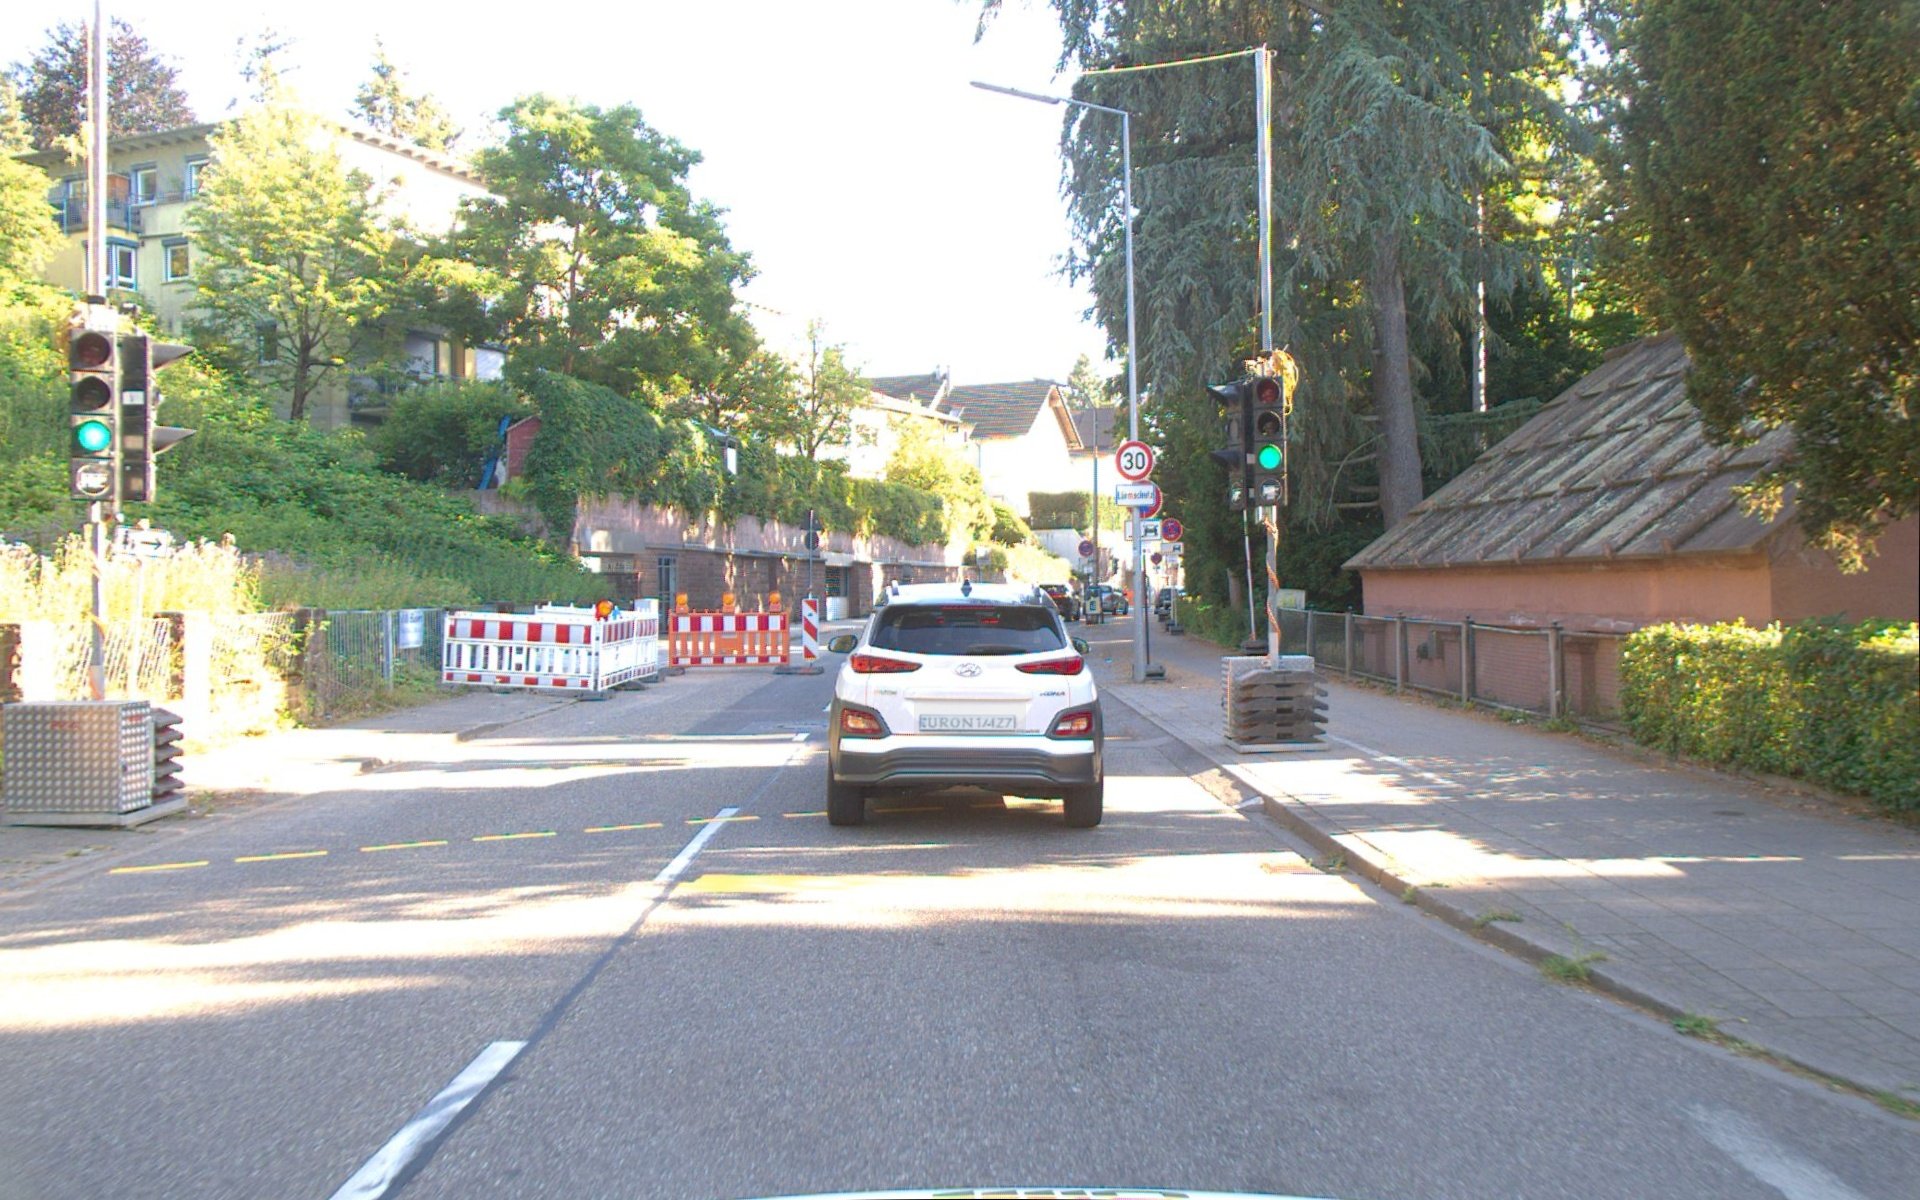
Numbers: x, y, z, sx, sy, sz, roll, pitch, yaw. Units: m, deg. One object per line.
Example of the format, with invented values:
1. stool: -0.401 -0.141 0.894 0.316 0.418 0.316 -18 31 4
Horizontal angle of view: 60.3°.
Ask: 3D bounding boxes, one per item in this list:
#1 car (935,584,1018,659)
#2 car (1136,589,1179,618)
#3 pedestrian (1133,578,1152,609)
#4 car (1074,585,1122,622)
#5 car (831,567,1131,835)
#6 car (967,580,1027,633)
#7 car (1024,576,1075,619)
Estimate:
1. car: 0.302 0.413 35.773 1.673 1.459 4.364 1 1 -1
2. car: 11.923 0.182 99.796 1.793 1.691 4.002 1 1 18
3. pedestrian: 11.630 -0.396 105.227 1.057 1.945 0.841 1 0 16
4. car: 6.953 0.171 83.270 1.792 1.771 4.003 -1 0 14
5. car: -0.021 0.590 12.020 1.785 1.601 3.996 1 1 -5
6. car: 1.132 0.184 51.892 1.768 1.564 4.000 1 1 0
7. car: 3.789 -0.128 69.578 1.792 1.691 4.003 1 1 7
